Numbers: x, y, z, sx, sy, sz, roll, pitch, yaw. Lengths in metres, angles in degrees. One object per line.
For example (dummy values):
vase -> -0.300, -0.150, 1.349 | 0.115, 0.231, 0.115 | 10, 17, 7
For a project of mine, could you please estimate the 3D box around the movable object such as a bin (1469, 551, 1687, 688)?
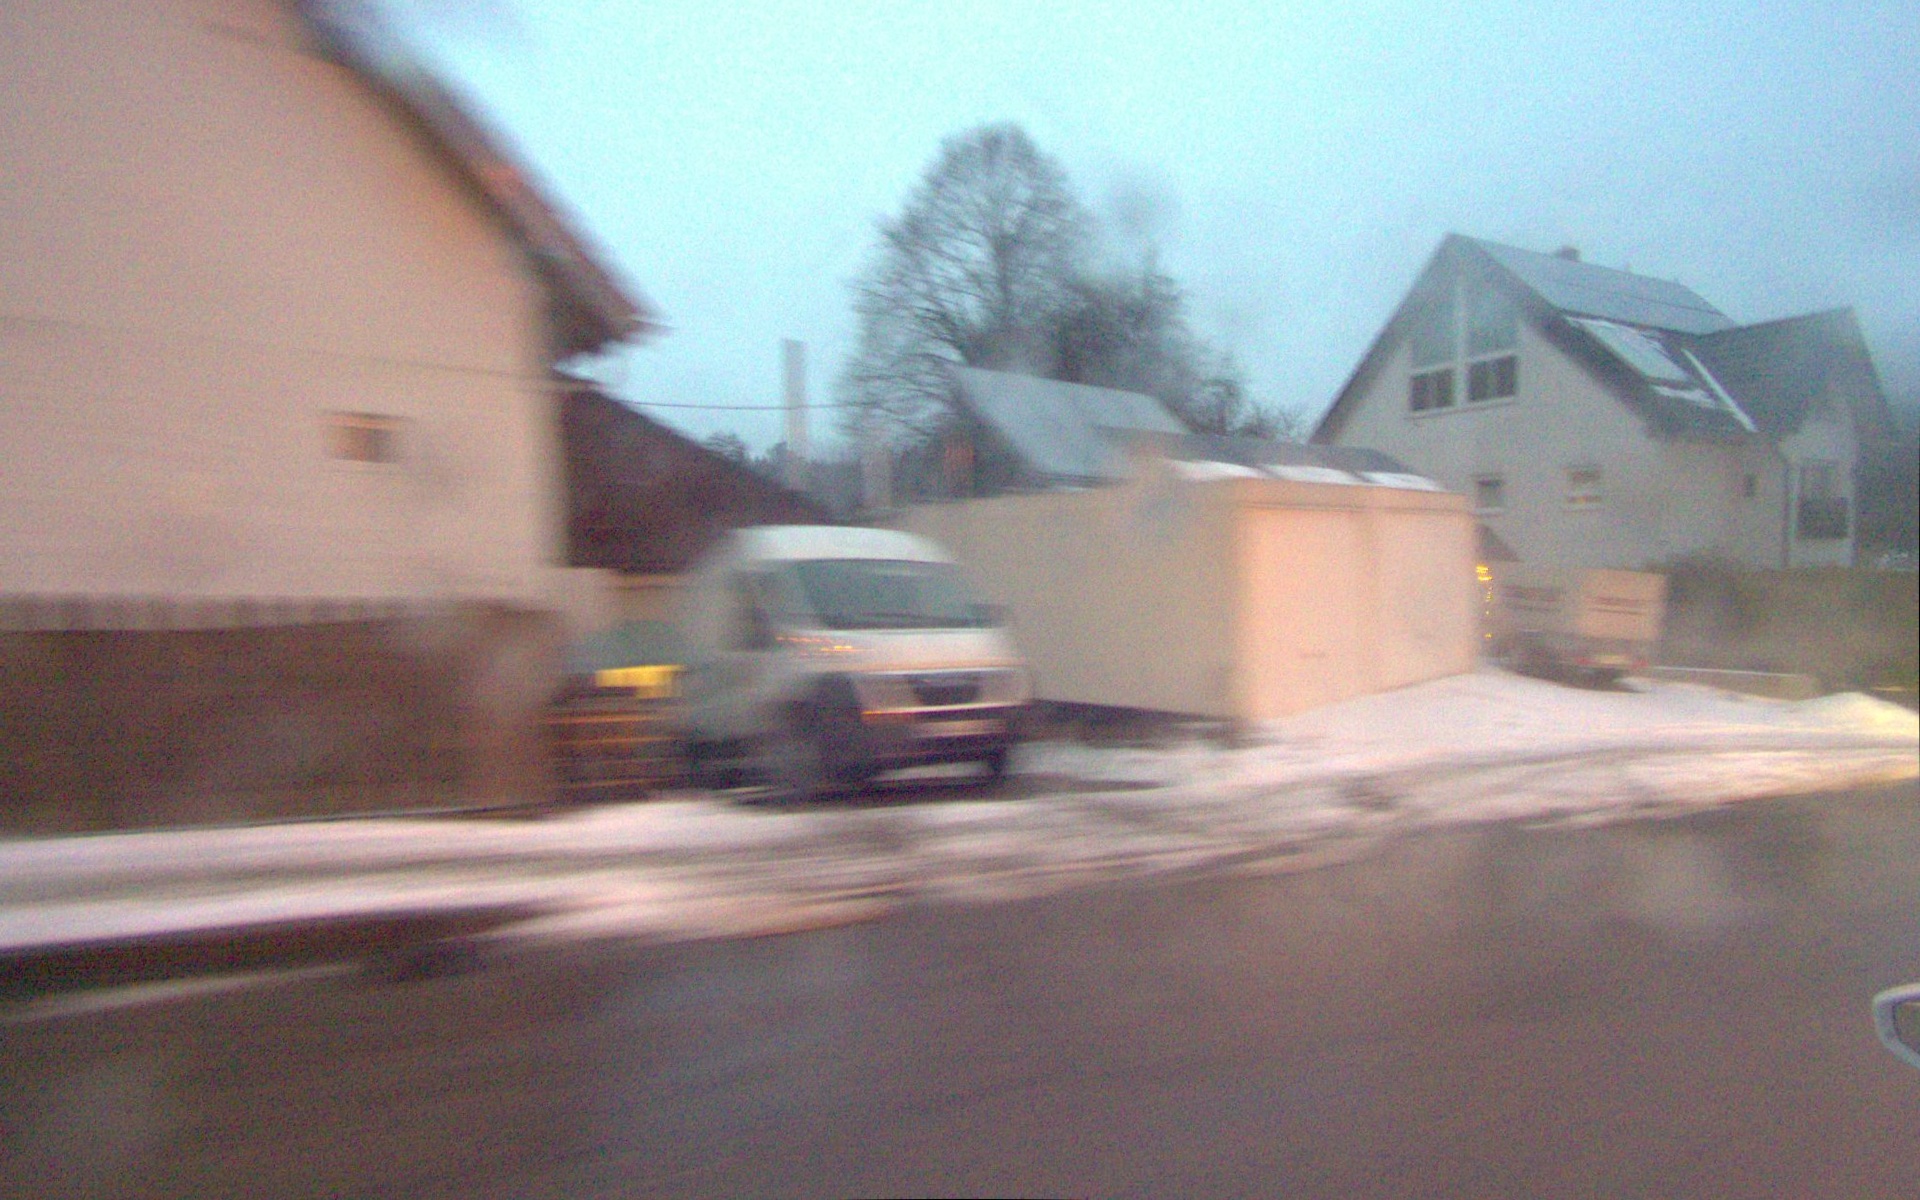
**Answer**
movable object such as a bin -> 8.637, 0.213, 14.244 | 1.414, 1.671, 2.368 | 1, 5, -5

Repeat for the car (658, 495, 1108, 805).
car -> -1.118, 0.323, 9.437 | 2.188, 2.040, 5.238 | 3, 0, -29
